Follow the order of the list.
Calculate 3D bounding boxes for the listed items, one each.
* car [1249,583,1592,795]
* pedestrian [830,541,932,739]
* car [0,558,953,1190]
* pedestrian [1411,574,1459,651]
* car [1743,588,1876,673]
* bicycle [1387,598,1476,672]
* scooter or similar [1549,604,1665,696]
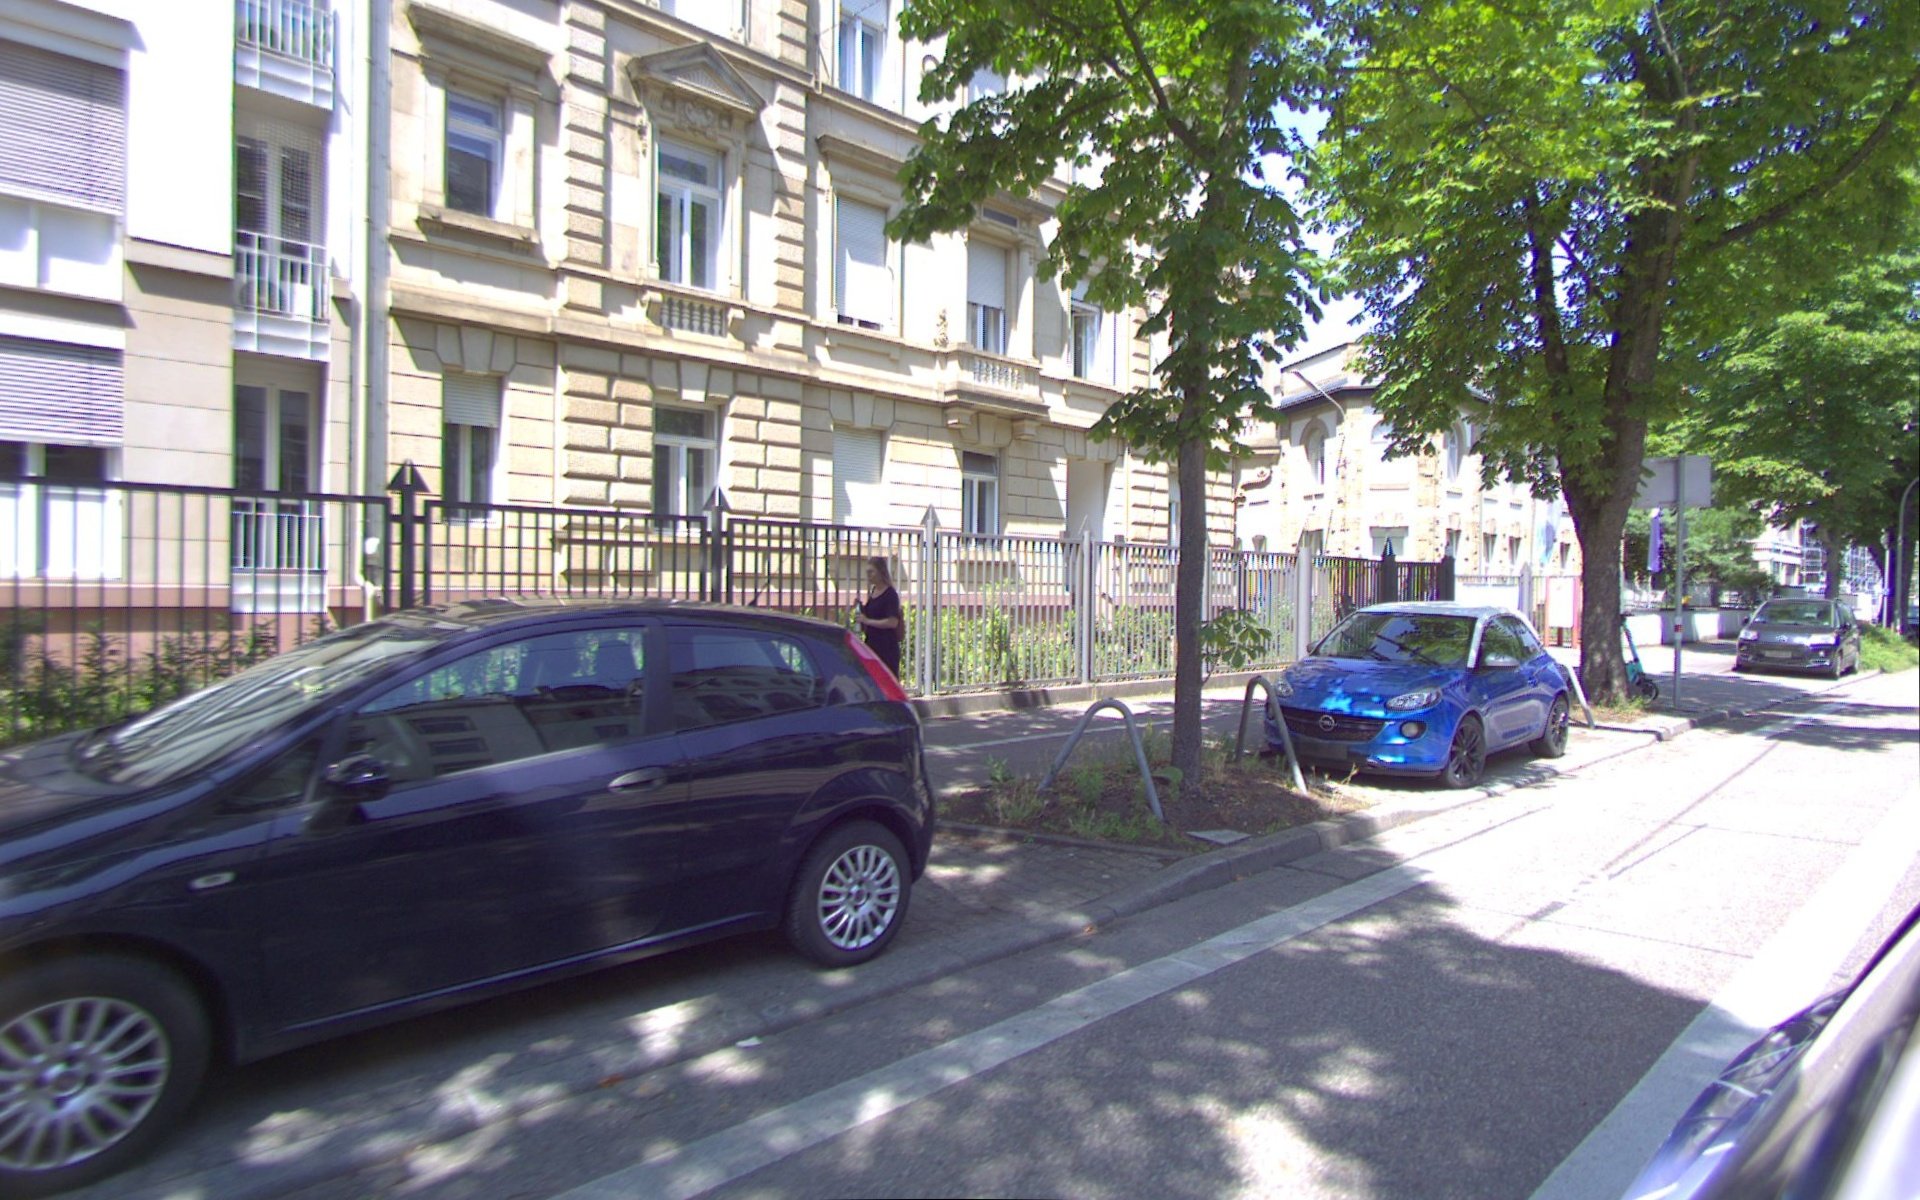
[{"bbox_3d":[4.355,0.639,9.361,3.522,1.515,1.613,-1,3,-42],"label":"car"},{"bbox_3d":[-0.716,0.340,9.222,0.742,1.714,0.547,0,1,-42],"label":"pedestrian"},{"bbox_3d":[-2.034,0.631,3.817,3.851,1.515,1.680,-1,3,-41],"label":"car"},{"bbox_3d":[10.378,0.259,22.126,0.650,1.657,0.672,0,0,-24],"label":"pedestrian"},{"bbox_3d":[18.333,0.620,21.789,4.044,1.616,1.646,1,1,-43],"label":"car"},{"bbox_3d":[8.454,0.585,18.088,2.083,1.240,0.688,-1,0,-42],"label":"bicycle"},{"bbox_3d":[9.173,0.682,14.362,1.369,1.247,0.371,0,0,36],"label":"scooter or similar"}]
